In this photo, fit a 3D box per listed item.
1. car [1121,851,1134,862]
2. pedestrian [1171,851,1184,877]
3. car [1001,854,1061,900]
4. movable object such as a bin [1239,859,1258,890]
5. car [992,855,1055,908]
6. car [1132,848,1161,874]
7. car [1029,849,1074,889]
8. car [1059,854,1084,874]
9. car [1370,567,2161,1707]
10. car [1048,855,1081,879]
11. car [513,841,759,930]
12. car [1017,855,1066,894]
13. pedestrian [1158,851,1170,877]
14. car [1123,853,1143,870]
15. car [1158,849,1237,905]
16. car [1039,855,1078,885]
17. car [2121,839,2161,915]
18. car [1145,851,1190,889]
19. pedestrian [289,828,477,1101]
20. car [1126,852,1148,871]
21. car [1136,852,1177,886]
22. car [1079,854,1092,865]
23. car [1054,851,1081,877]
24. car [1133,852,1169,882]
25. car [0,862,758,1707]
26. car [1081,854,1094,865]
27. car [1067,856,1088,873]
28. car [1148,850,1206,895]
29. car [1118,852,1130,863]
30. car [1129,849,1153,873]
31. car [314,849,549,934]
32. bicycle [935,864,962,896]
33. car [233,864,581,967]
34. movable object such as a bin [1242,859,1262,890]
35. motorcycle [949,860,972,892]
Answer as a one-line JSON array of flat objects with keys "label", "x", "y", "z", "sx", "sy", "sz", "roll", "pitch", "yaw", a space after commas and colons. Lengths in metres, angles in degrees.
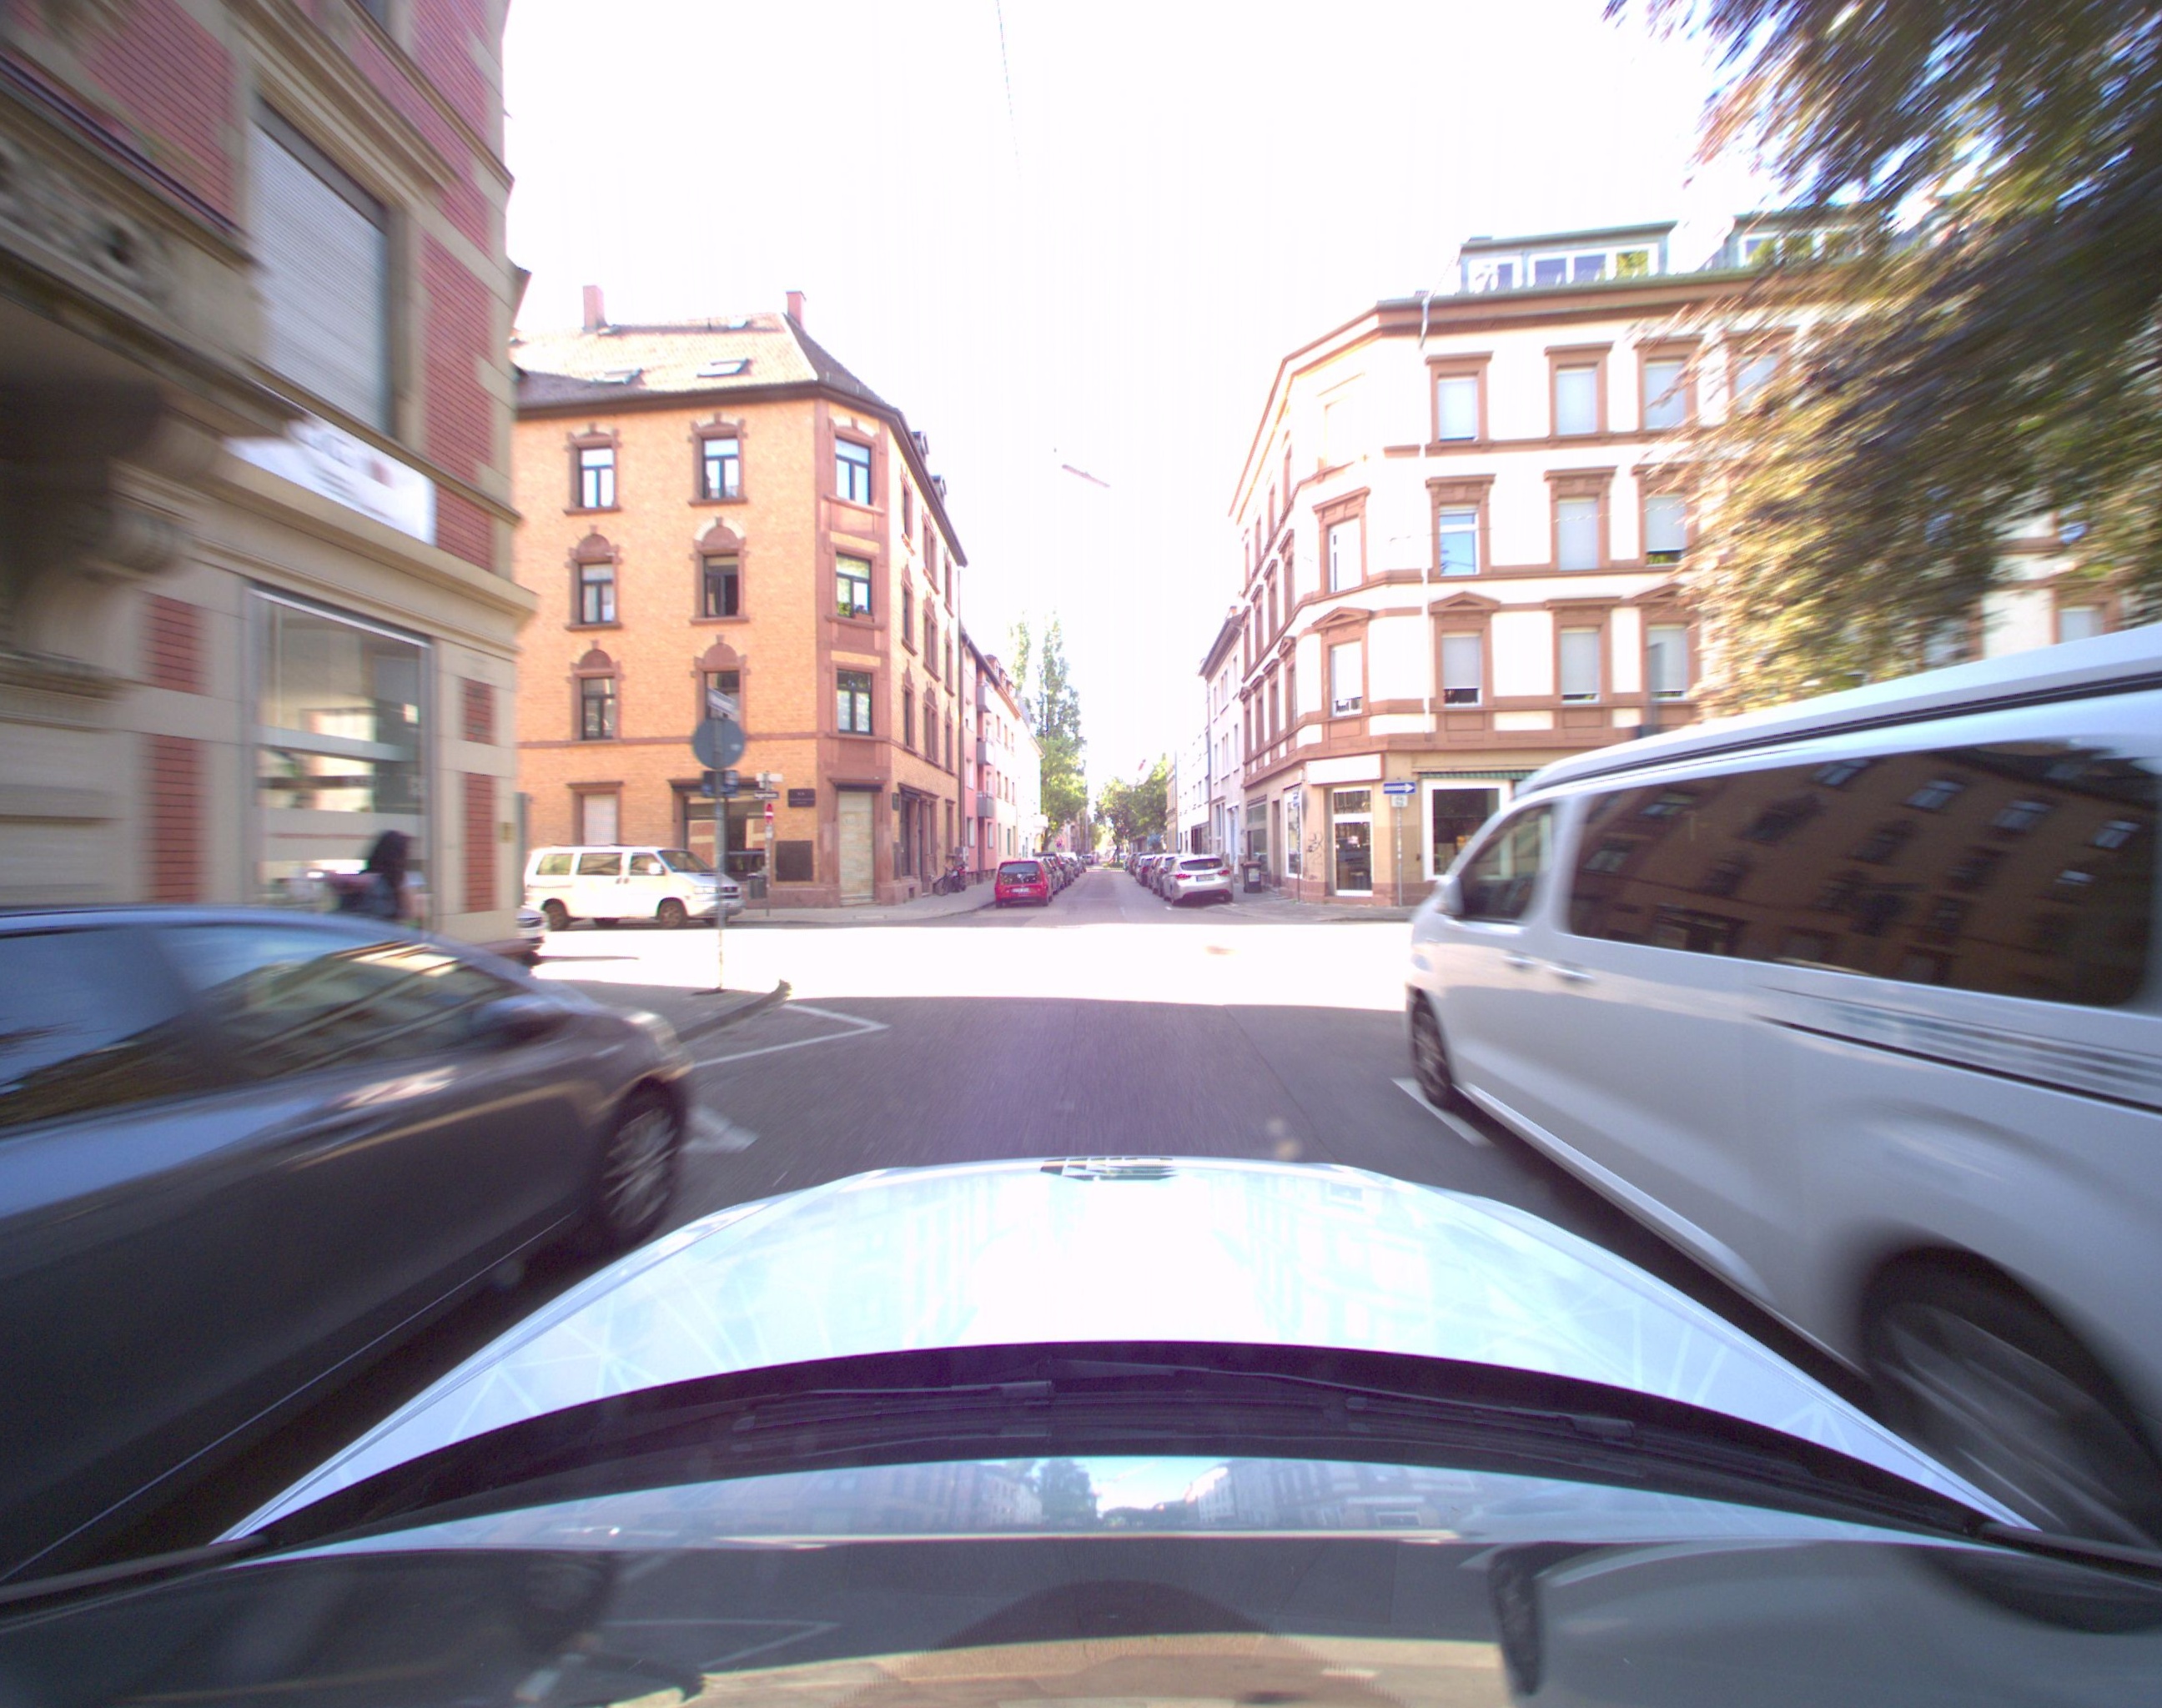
[{"label": "car", "x": 6.576, "y": 0.367, "z": 115.892, "sx": 1.670, "sy": 1.487, "sz": 3.638, "roll": -3, "pitch": 0, "yaw": 1}, {"label": "pedestrian", "x": 6.266, "y": 0.622, "z": 52.982, "sx": 0.683, "sy": 1.660, "sz": 0.718, "roll": -2, "pitch": 0, "yaw": 1}, {"label": "car", "x": -1.813, "y": 0.818, "z": 30.884, "sx": 1.688, "sy": 1.521, "sz": 4.100, "roll": -3, "pitch": 0, "yaw": 3}, {"label": "movable object such as a bin", "x": 5.899, "y": 0.710, "z": 28.756, "sx": 0.512, "sy": 1.039, "sz": 0.594, "roll": -3, "pitch": 0, "yaw": 2}, {"label": "car", "x": -1.786, "y": 0.833, "z": 26.154, "sx": 1.622, "sy": 1.481, "sz": 3.602, "roll": -3, "pitch": 0, "yaw": 1}, {"label": "car", "x": 4.550, "y": 0.495, "z": 57.271, "sx": 1.670, "sy": 1.627, "sz": 4.251, "roll": -5, "pitch": 0, "yaw": 1}, {"label": "car", "x": -1.444, "y": 0.701, "z": 41.202, "sx": 1.736, "sy": 1.811, "sz": 4.676, "roll": -3, "pitch": 0, "yaw": 3}, {"label": "car", "x": -0.757, "y": 0.829, "z": 69.246, "sx": 1.662, "sy": 1.469, "sz": 3.825, "roll": -3, "pitch": 0, "yaw": 5}, {"label": "car", "x": 2.815, "y": 0.490, "z": 3.126, "sx": 1.906, "sy": 1.998, "sz": 4.797, "roll": -3, "pitch": 0, "yaw": 4}, {"label": "car", "x": -1.090, "y": 0.845, "z": 55.835, "sx": 1.664, "sy": 1.486, "sz": 3.999, "roll": -3, "pitch": 0, "yaw": 7}, {"label": "car", "x": -10.269, "y": 0.737, "z": 19.015, "sx": 4.686, "sy": 1.894, "sz": 2.030, "roll": -1, "pitch": -2, "yaw": 7}, {"label": "car", "x": -1.655, "y": 0.859, "z": 35.706, "sx": 1.649, "sy": 1.521, "sz": 3.948, "roll": -3, "pitch": 0, "yaw": 3}, {"label": "pedestrian", "x": 5.446, "y": 0.659, "z": 53.305, "sx": 0.683, "sy": 1.660, "sz": 0.718, "roll": -2, "pitch": 0, "yaw": 1}, {"label": "car", "x": 4.880, "y": 0.680, "z": 76.806, "sx": 1.670, "sy": 1.487, "sz": 4.095, "roll": -3, "pitch": 0, "yaw": 1}, {"label": "car", "x": 3.551, "y": 0.663, "z": 25.572, "sx": 1.739, "sy": 1.506, "sz": 4.356, "roll": -3, "pitch": 0, "yaw": -1}, {"label": "car", "x": -1.221, "y": 0.881, "z": 46.409, "sx": 1.736, "sy": 1.506, "sz": 4.350, "roll": -3, "pitch": 0, "yaw": 3}, {"label": "car", "x": 22.516, "y": 0.429, "z": 15.291, "sx": 3.511, "sy": 1.473, "sz": 1.637, "roll": 0, "pitch": -2, "yaw": 8}, {"label": "car", "x": 3.775, "y": 0.653, "z": 36.070, "sx": 1.593, "sy": 1.506, "sz": 4.185, "roll": -3, "pitch": 0, "yaw": 1}, {"label": "pedestrian", "x": -4.494, "y": 0.677, "z": 5.297, "sx": 0.546, "sy": 1.644, "sz": 0.717, "roll": 0, "pitch": -2, "yaw": 1}, {"label": "car", "x": 4.928, "y": 0.637, "z": 71.899, "sx": 1.670, "sy": 1.561, "sz": 3.797, "roll": -3, "pitch": 0, "yaw": 1}, {"label": "car", "x": 3.729, "y": 0.709, "z": 40.633, "sx": 1.670, "sy": 1.506, "sz": 3.938, "roll": -3, "pitch": 0, "yaw": 1}, {"label": "car", "x": 0.615, "y": 0.763, "z": 114.449, "sx": 1.670, "sy": 1.487, "sz": 4.095, "roll": -3, "pitch": 0, "yaw": 1}, {"label": "car", "x": -0.949, "y": 0.693, "z": 60.367, "sx": 1.759, "sy": 1.785, "sz": 4.040, "roll": -3, "pitch": 0, "yaw": 1}, {"label": "car", "x": 3.894, "y": 0.682, "z": 45.583, "sx": 1.670, "sy": 1.506, "sz": 3.938, "roll": -3, "pitch": 0, "yaw": 1}, {"label": "car", "x": -2.630, "y": 0.832, "z": 2.320, "sx": 1.687, "sy": 1.481, "sz": 3.974, "roll": -3, "pitch": 0, "yaw": 1}, {"label": "car", "x": 0.984, "y": 0.773, "z": 119.696, "sx": 1.670, "sy": 1.487, "sz": 4.095, "roll": -3, "pitch": 0, "yaw": 1}, {"label": "car", "x": -0.303, "y": 0.926, "z": 73.801, "sx": 1.664, "sy": 1.361, "sz": 4.050, "roll": -3, "pitch": 0, "yaw": 1}, {"label": "car", "x": 3.598, "y": 0.645, "z": 30.977, "sx": 1.738, "sy": 1.506, "sz": 4.022, "roll": -3, "pitch": 0, "yaw": 1}, {"label": "car", "x": 6.407, "y": 0.465, "z": 122.222, "sx": 1.670, "sy": 1.487, "sz": 3.638, "roll": -3, "pitch": 0, "yaw": 1}, {"label": "car", "x": 4.572, "y": 0.531, "z": 62.826, "sx": 1.669, "sy": 1.681, "sz": 4.097, "roll": -3, "pitch": -1, "yaw": 3}, {"label": "car", "x": -15.596, "y": 0.913, "z": 19.686, "sx": 4.325, "sy": 1.894, "sz": 1.944, "roll": -1, "pitch": -3, "yaw": 8}, {"label": "bicycle", "x": -4.854, "y": 0.930, "z": 29.925, "sx": 0.531, "sy": 1.074, "sz": 1.892, "roll": 3, "pitch": 0, "yaw": 2}, {"label": "car", "x": -11.013, "y": 1.001, "z": 13.497, "sx": 4.403, "sy": 1.530, "sz": 1.870, "roll": -1, "pitch": -3, "yaw": 7}, {"label": "movable object such as a bin", "x": 5.871, "y": 0.691, "z": 27.986, "sx": 0.512, "sy": 1.039, "sz": 0.620, "roll": -3, "pitch": 0, "yaw": 2}, {"label": "motorcycle", "x": -4.758, "y": 0.851, "z": 32.344, "sx": 0.531, "sy": 1.206, "sz": 1.909, "roll": -1, "pitch": 0, "yaw": 2}]
